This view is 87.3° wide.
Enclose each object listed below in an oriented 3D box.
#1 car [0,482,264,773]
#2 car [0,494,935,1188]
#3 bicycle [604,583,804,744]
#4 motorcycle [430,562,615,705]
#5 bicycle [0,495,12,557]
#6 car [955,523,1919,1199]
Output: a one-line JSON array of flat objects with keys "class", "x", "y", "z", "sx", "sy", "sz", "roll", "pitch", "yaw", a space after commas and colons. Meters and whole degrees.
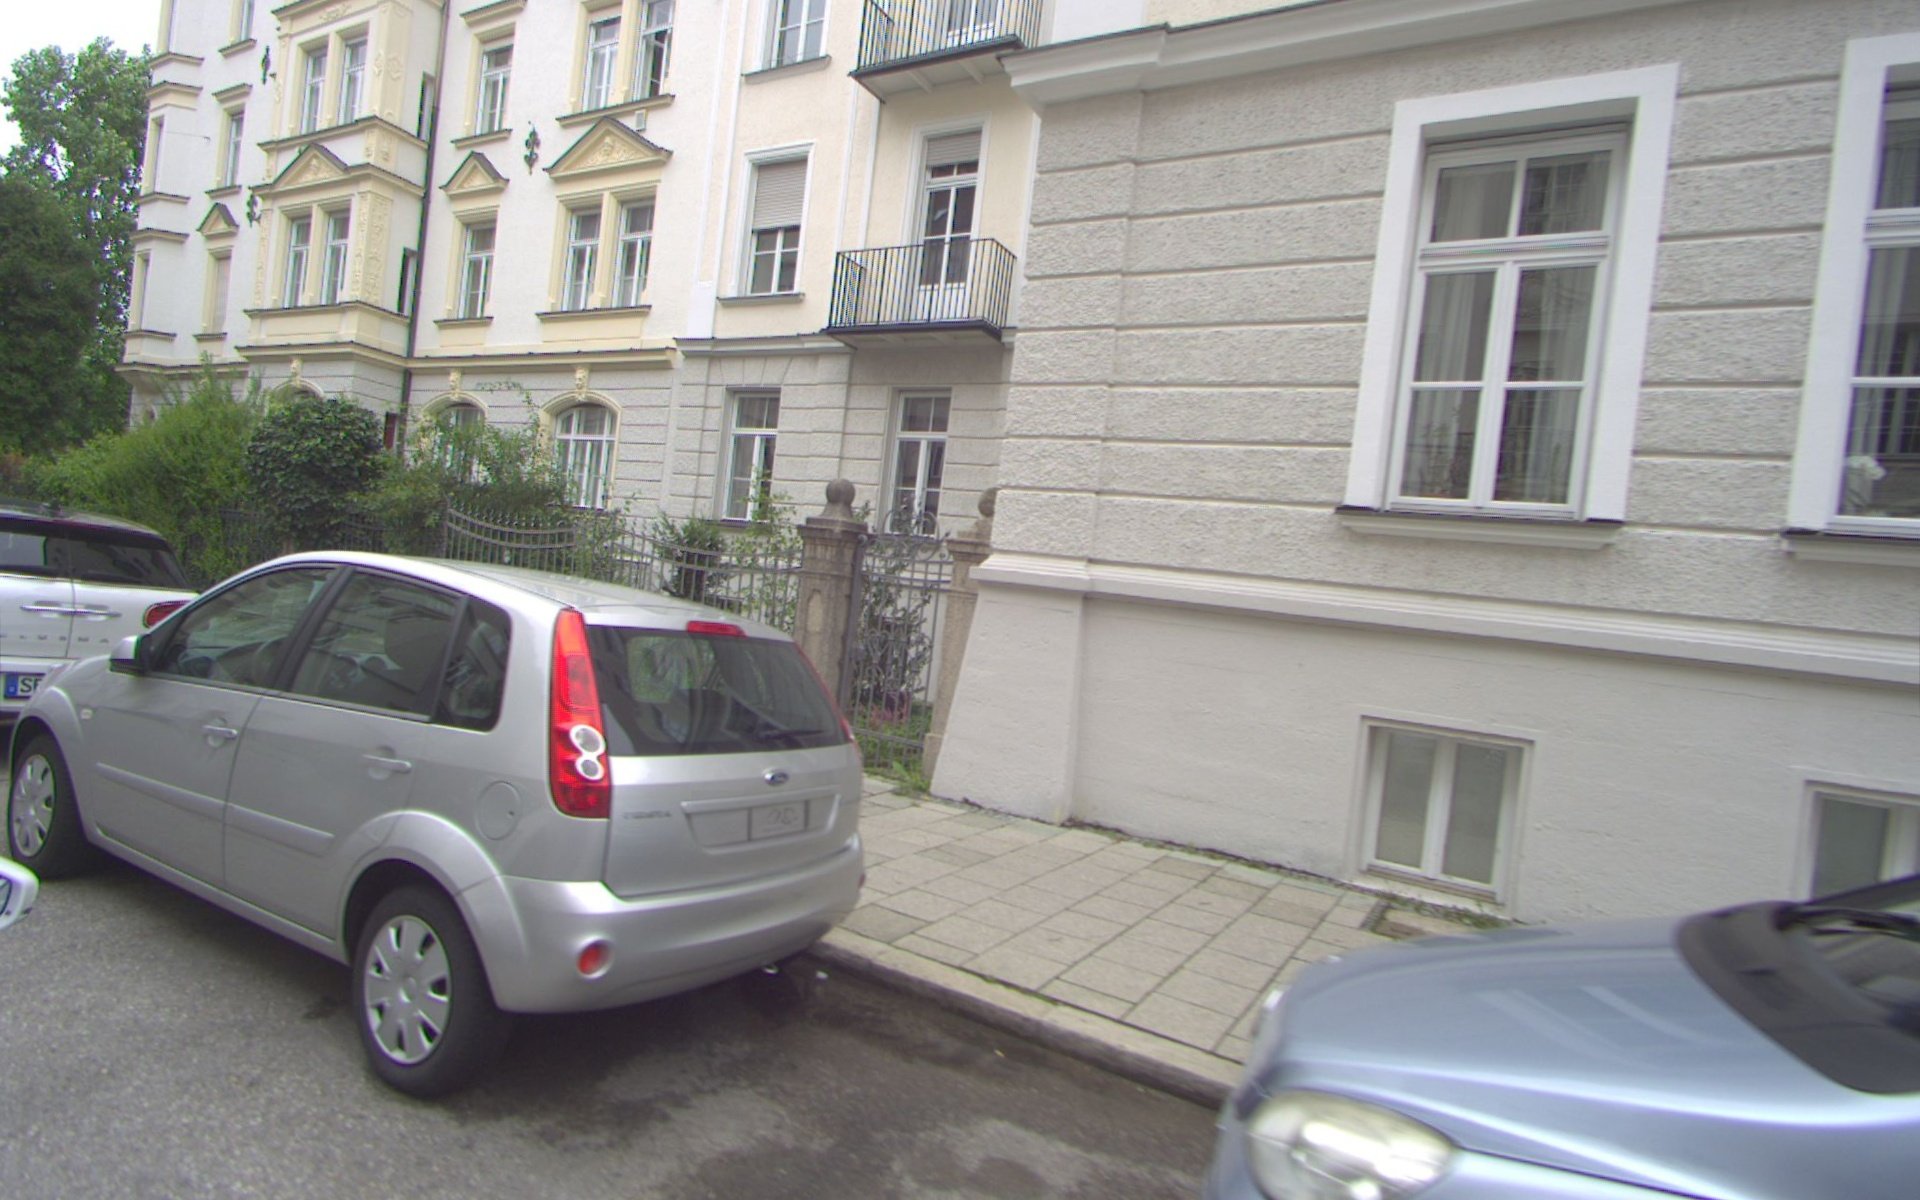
[{"class": "car", "x": -6.561, "y": -0.028, "z": 6.523, "sx": 3.997, "sy": 1.522, "sz": 1.787, "roll": 7, "pitch": -1, "yaw": 31}, {"class": "car", "x": -2.062, "y": 0.528, "z": 3.915, "sx": 3.394, "sy": 1.423, "sz": 1.757, "roll": 7, "pitch": -1, "yaw": 31}, {"class": "bicycle", "x": -2.274, "y": 0.523, "z": 8.825, "sx": 1.850, "sy": 1.140, "sz": 0.434, "roll": 7, "pitch": 1, "yaw": 32}, {"class": "motorcycle", "x": -4.235, "y": 0.294, "z": 9.673, "sx": 1.933, "sy": 1.126, "sz": 0.607, "roll": 7, "pitch": 1, "yaw": 34}, {"class": "bicycle", "x": -17.997, "y": -1.408, "z": 18.466, "sx": 1.291, "sy": 1.112, "sz": 0.455, "roll": 7, "pitch": 1, "yaw": 30}, {"class": "car", "x": 2.319, "y": 0.990, "z": 1.295, "sx": 4.328, "sy": 1.587, "sz": 1.826, "roll": 7, "pitch": -2, "yaw": 33}]
